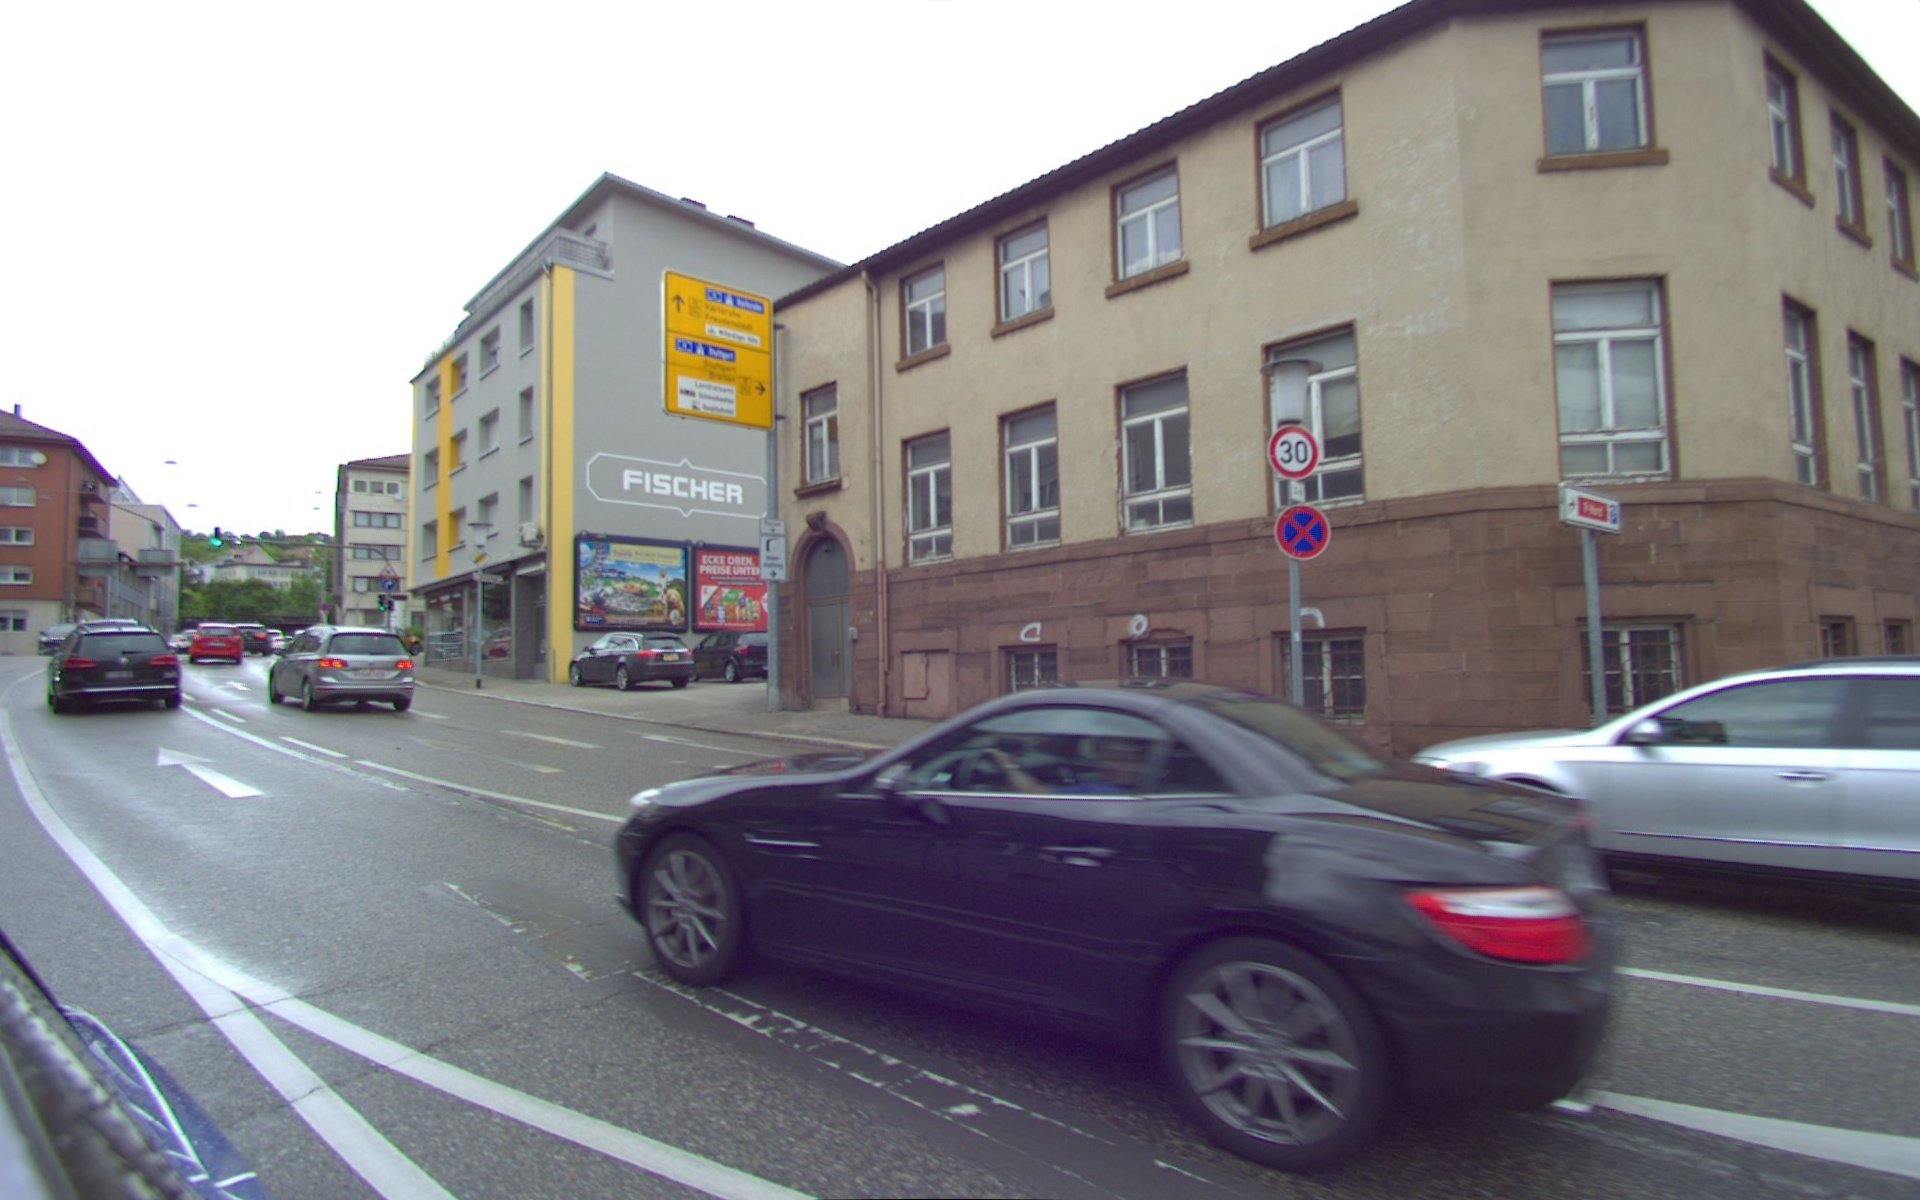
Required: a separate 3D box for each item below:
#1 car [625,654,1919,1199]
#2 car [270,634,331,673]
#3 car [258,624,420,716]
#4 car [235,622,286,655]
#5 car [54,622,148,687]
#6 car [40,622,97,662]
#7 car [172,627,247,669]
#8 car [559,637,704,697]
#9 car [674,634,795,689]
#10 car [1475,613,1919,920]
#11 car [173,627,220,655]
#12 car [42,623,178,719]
[{"bbox_3d":[0.724,0.882,3.841,4.135,1.327,1.699,-2,-3,36],"label":"car"},{"bbox_3d":[-27.961,2.284,42.854,1.640,1.398,3.805,1,-6,-41],"label":"car"},{"bbox_3d":[-12.173,1.312,19.721,1.695,1.598,4.146,6,-5,-45],"label":"car"},{"bbox_3d":[-35.382,1.946,51.162,1.718,1.527,4.138,4,-4,-39],"label":"car"},{"bbox_3d":[-24.708,1.497,29.059,1.785,1.718,4.566,1,-2,-43],"label":"car"},{"bbox_3d":[-45.633,2.193,51.854,1.765,1.741,4.009,0,-6,-36],"label":"car"},{"bbox_3d":[-29.927,1.905,40.314,4.132,1.527,1.720,-1,-4,44],"label":"car"},{"bbox_3d":[-8.883,1.723,27.154,4.664,1.466,1.672,-2,-2,43],"label":"car"},{"bbox_3d":[-6.599,1.728,29.415,1.671,1.475,3.857,1,-2,-44],"label":"car"},{"bbox_3d":[5.622,0.902,5.671,4.638,1.551,1.727,-1,-4,39],"label":"car"},{"bbox_3d":[-44.700,2.370,59.321,1.782,1.533,4.574,2,-2,-32],"label":"car"},{"bbox_3d":[-15.643,1.194,18.544,1.702,1.527,4.374,1,-1,-43],"label":"car"}]
